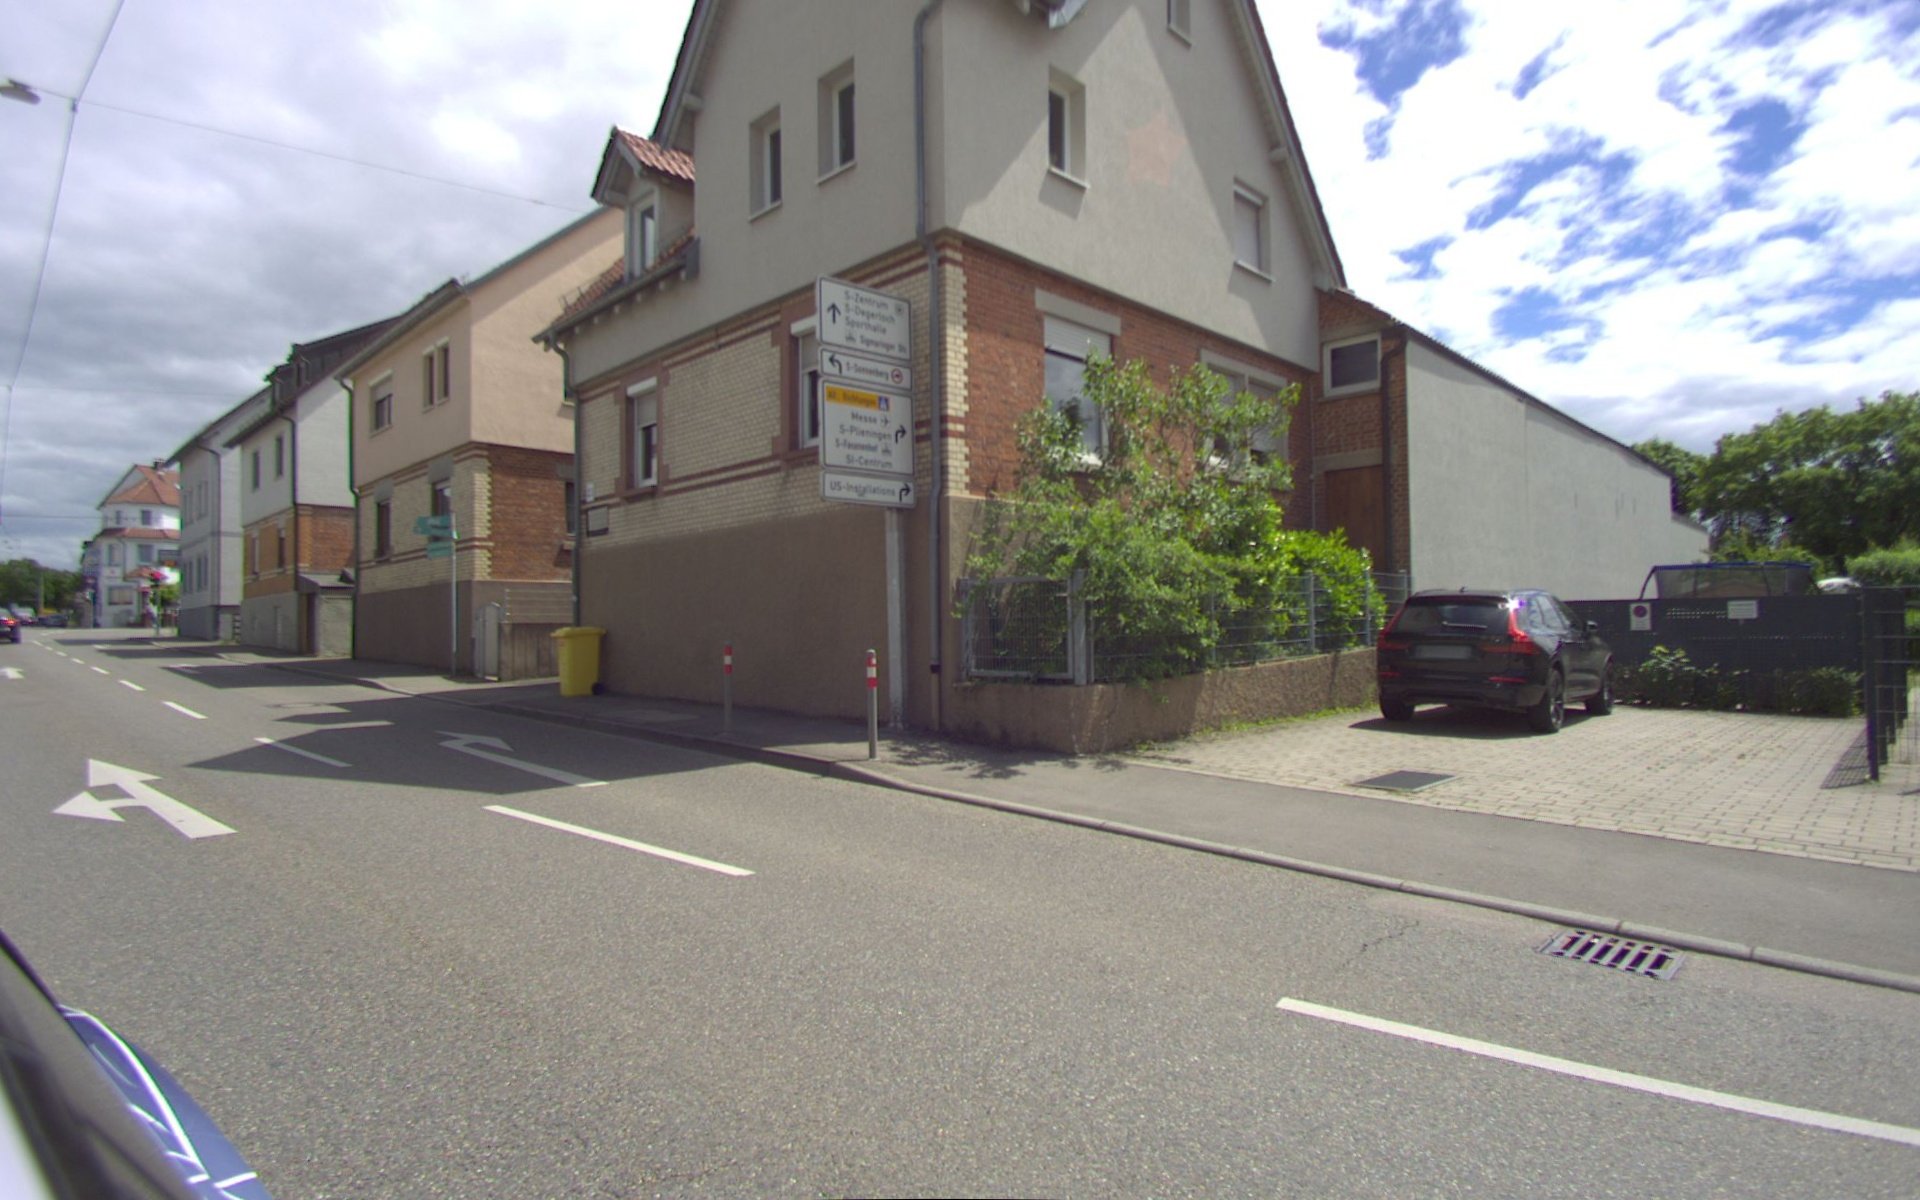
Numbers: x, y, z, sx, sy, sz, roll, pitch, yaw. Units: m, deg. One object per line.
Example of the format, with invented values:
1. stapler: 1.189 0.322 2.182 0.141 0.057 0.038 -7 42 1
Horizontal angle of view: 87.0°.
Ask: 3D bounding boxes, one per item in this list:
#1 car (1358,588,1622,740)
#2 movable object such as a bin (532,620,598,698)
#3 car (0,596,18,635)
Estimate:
1. car: 6.772 0.682 12.750 2.001 1.586 3.943 0 0 43
2. movable object such as a bin: -6.227 0.912 15.949 0.755 1.170 0.804 0 -1 -40
3. car: -39.021 0.650 40.538 1.770 1.497 4.002 -1 -1 -45
